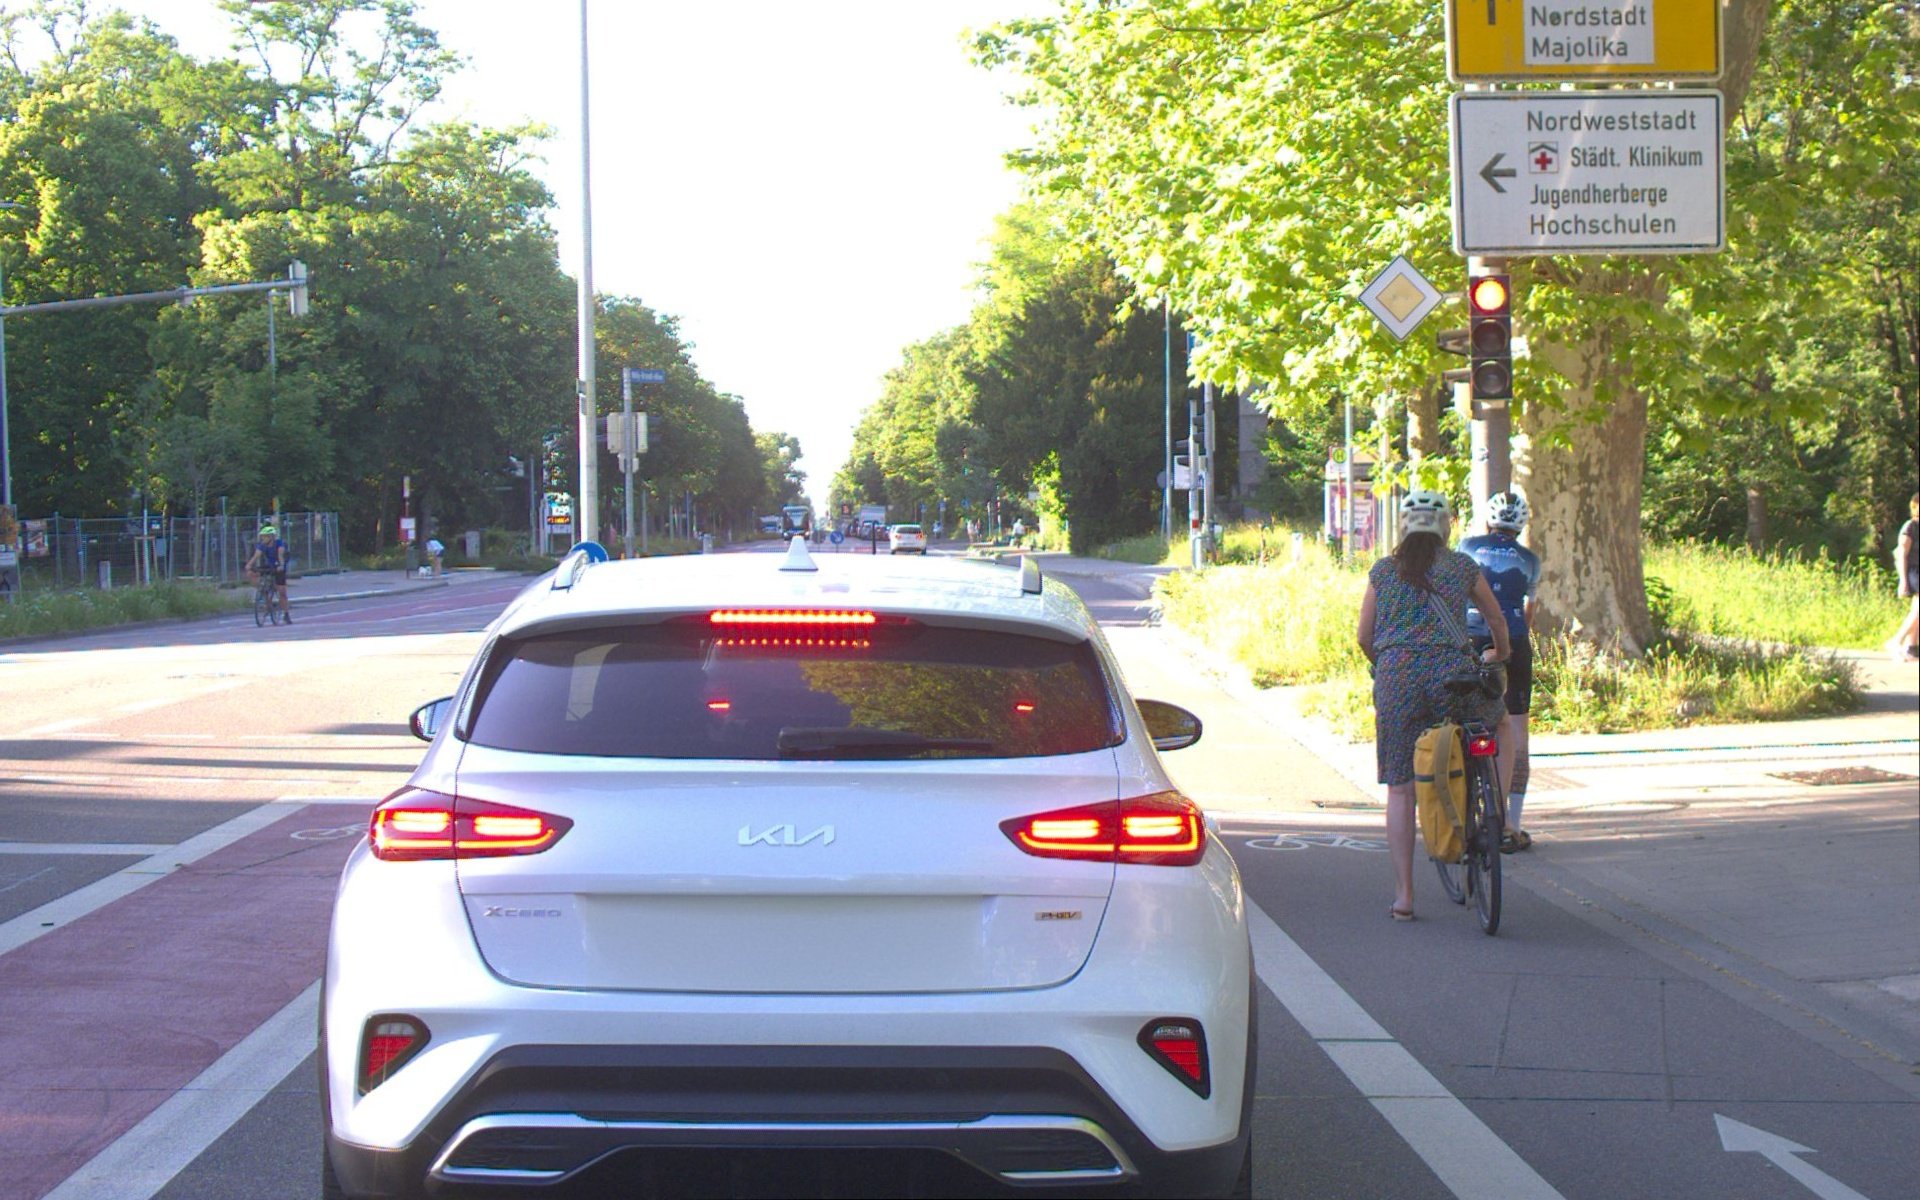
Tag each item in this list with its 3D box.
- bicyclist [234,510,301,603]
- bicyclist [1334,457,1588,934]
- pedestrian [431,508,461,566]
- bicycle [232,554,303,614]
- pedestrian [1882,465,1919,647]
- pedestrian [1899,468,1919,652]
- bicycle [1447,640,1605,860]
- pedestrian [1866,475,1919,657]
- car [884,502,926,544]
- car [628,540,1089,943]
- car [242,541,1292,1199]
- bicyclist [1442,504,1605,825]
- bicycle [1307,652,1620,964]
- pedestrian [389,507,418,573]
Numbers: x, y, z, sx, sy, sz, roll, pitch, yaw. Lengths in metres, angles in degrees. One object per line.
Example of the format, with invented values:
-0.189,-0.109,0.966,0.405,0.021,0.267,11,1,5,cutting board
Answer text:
-12.250,-0.782,60.838,0.875,1.603,1.188,-1,1,1,bicyclist
1.954,0.349,13.564,0.753,1.789,1.165,1,1,-2,bicyclist
-15.786,-1.925,105.611,0.785,1.779,0.751,0,1,0,pedestrian
-12.239,-0.288,60.800,0.663,0.985,2.504,-1,1,2,bicycle
9.648,-0.442,33.827,0.817,1.765,0.832,-2,1,-7,pedestrian
9.489,-0.391,33.122,0.615,1.765,0.647,-2,1,-7,pedestrian
2.720,0.701,16.618,0.401,0.953,1.551,-4,1,-2,bicycle
9.037,-0.335,32.494,0.689,1.693,0.644,-2,1,-7,pedestrian
-2.731,-3.867,171.821,1.993,2.007,4.000,-2,1,-1,car
-0.454,0.512,14.913,1.728,1.478,3.517,-1,1,-2,car
-0.397,0.620,7.954,1.821,1.475,3.937,0,1,-2,car
2.694,0.299,16.490,0.554,1.473,0.717,-4,1,-2,bicyclist
1.941,0.769,13.661,0.758,1.009,2.570,1,1,-2,bicycle
-16.980,-1.827,104.941,0.641,2.007,0.753,0,1,11,pedestrian
